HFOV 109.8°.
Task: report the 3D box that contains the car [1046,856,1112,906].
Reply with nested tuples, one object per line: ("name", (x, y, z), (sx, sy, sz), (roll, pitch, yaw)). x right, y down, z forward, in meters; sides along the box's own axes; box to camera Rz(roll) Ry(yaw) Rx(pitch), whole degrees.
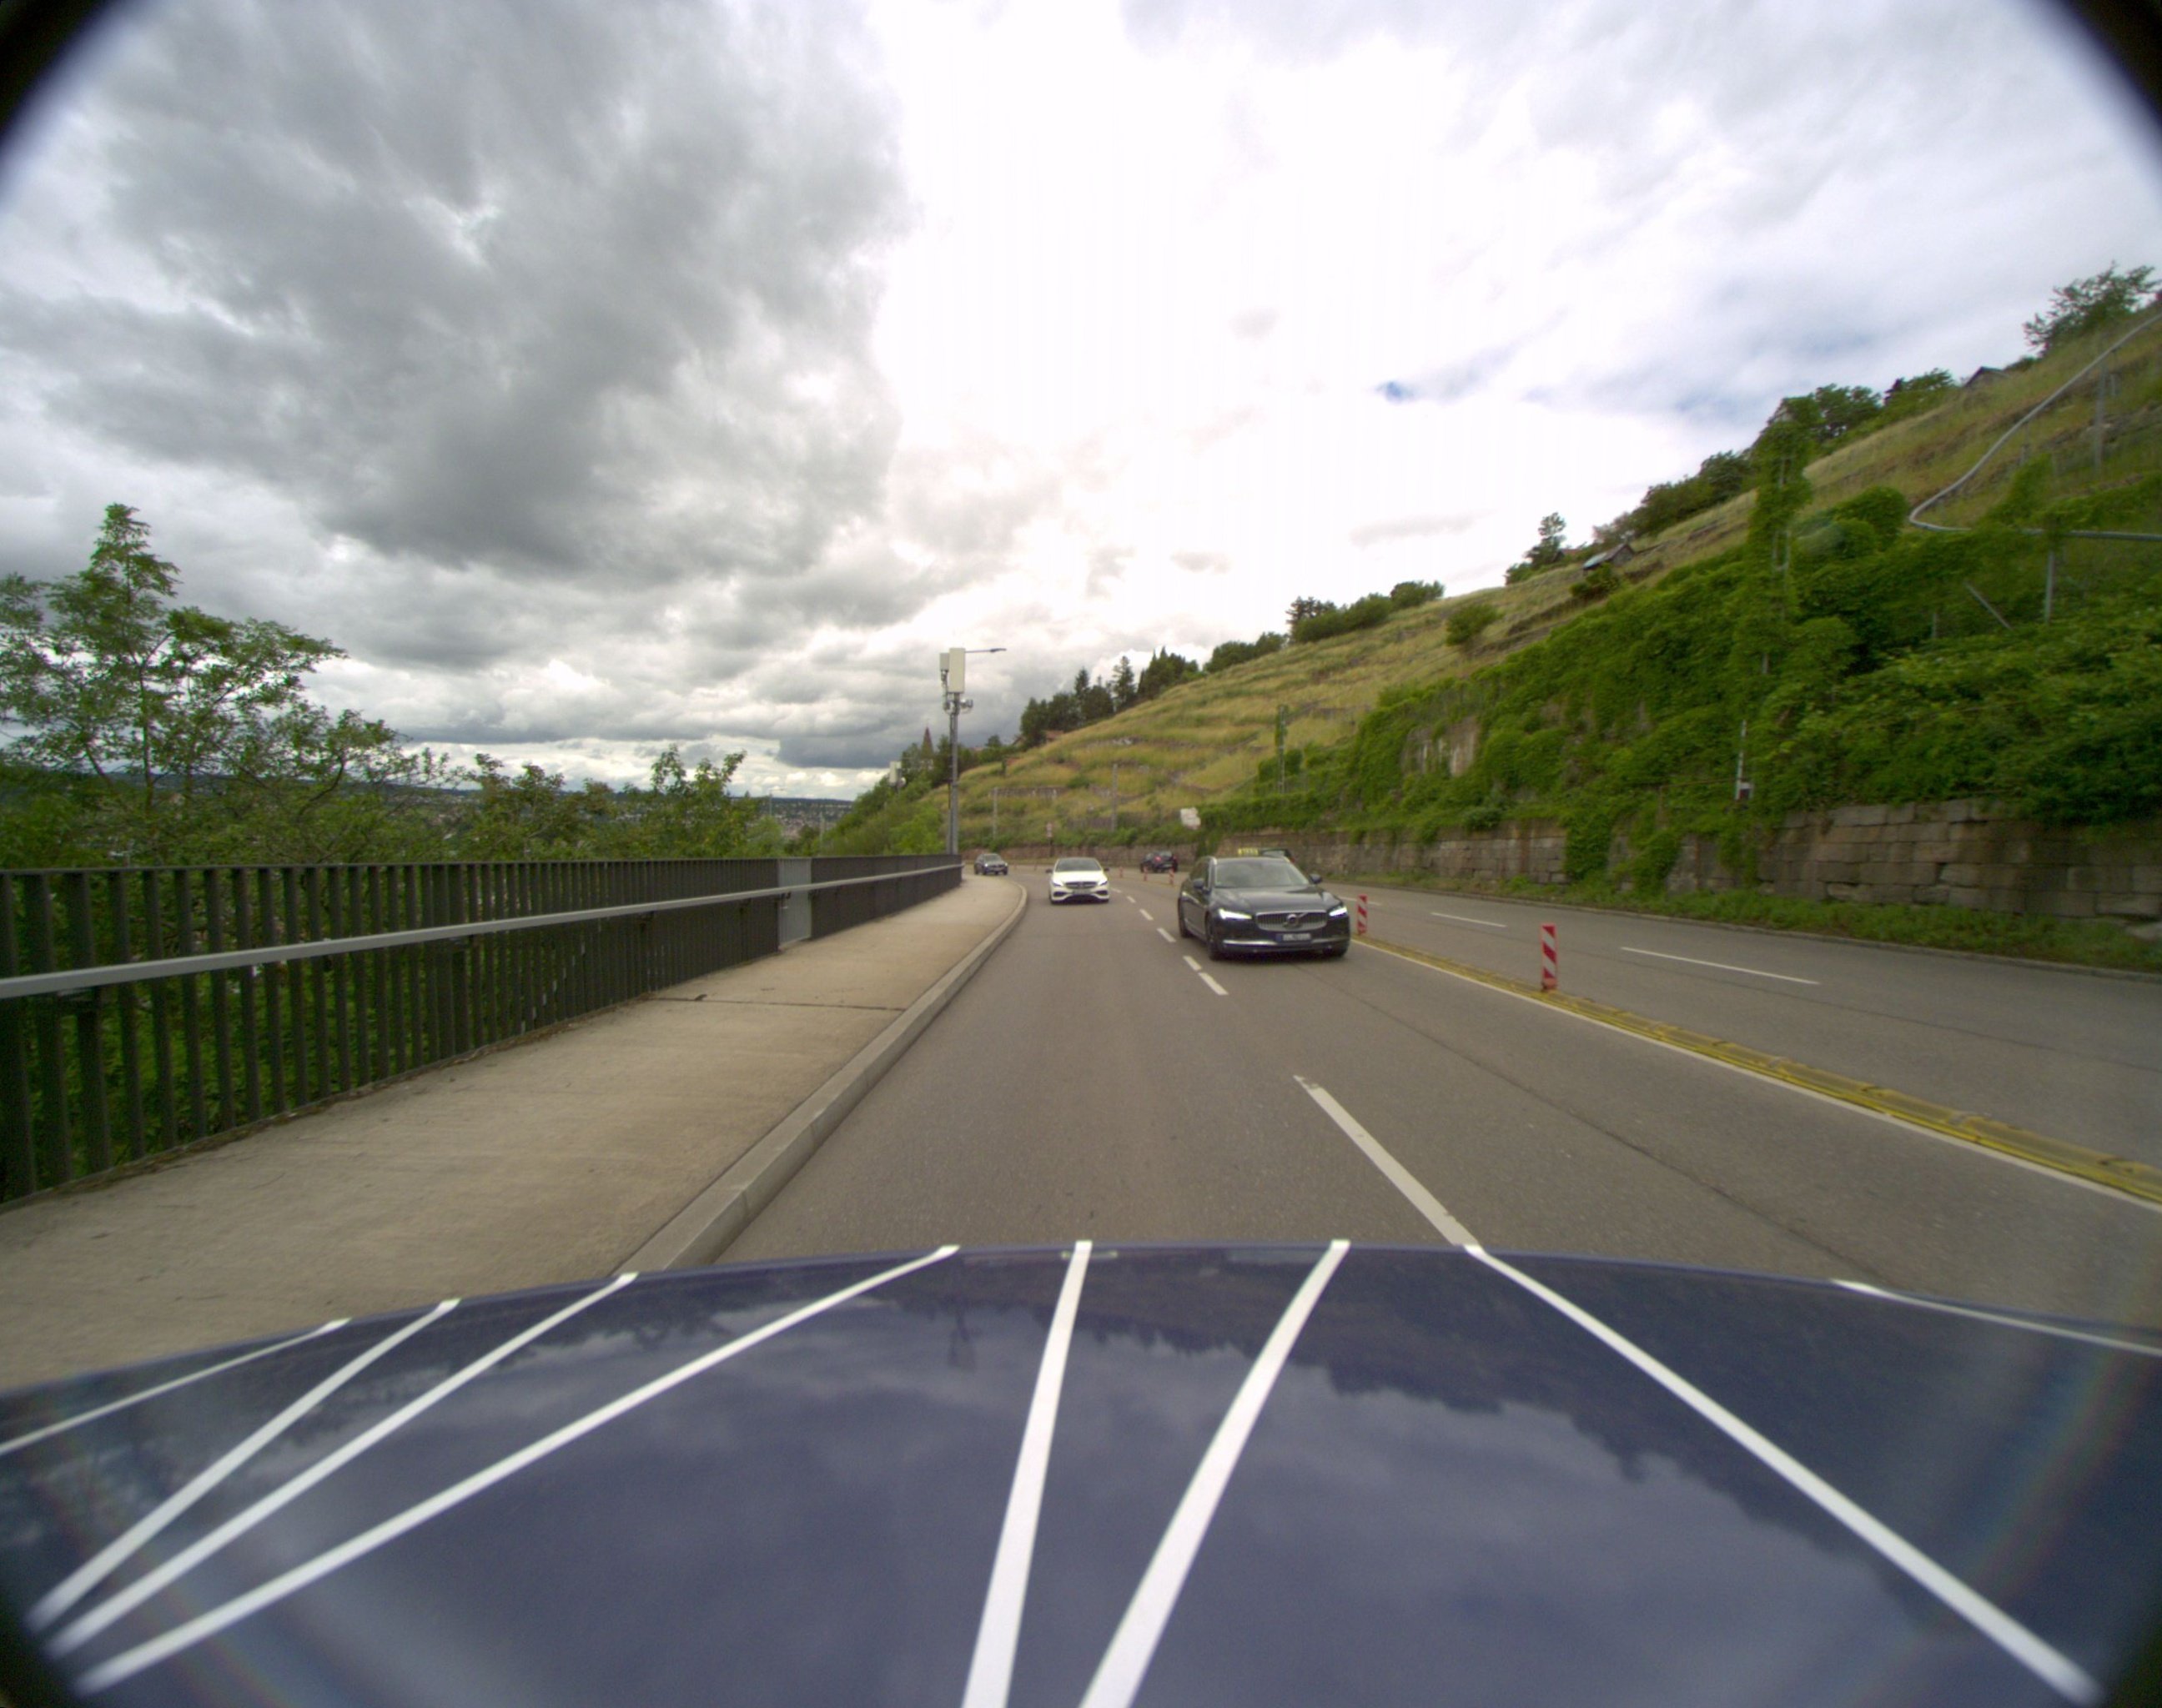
("car", (-0.098, 0.842, 24.586), (1.903, 1.418, 4.266), (-3, -1, -1))

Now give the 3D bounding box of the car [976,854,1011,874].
("car", (-6.648, 0.719, 57.530), (1.647, 1.381, 3.993), (-3, 1, -21))

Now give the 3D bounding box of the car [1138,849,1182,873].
("car", (5.173, 0.442, 50.050), (1.601, 1.420, 3.995), (-2, 1, -14))

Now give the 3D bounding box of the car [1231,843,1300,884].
("car", (8.334, 0.384, 34.646), (1.913, 1.682, 3.998), (-2, 1, -3))

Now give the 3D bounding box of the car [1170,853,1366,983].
("car", (2.683, 0.818, 12.213), (1.939, 1.567, 5.026), (-2, 0, 1))
